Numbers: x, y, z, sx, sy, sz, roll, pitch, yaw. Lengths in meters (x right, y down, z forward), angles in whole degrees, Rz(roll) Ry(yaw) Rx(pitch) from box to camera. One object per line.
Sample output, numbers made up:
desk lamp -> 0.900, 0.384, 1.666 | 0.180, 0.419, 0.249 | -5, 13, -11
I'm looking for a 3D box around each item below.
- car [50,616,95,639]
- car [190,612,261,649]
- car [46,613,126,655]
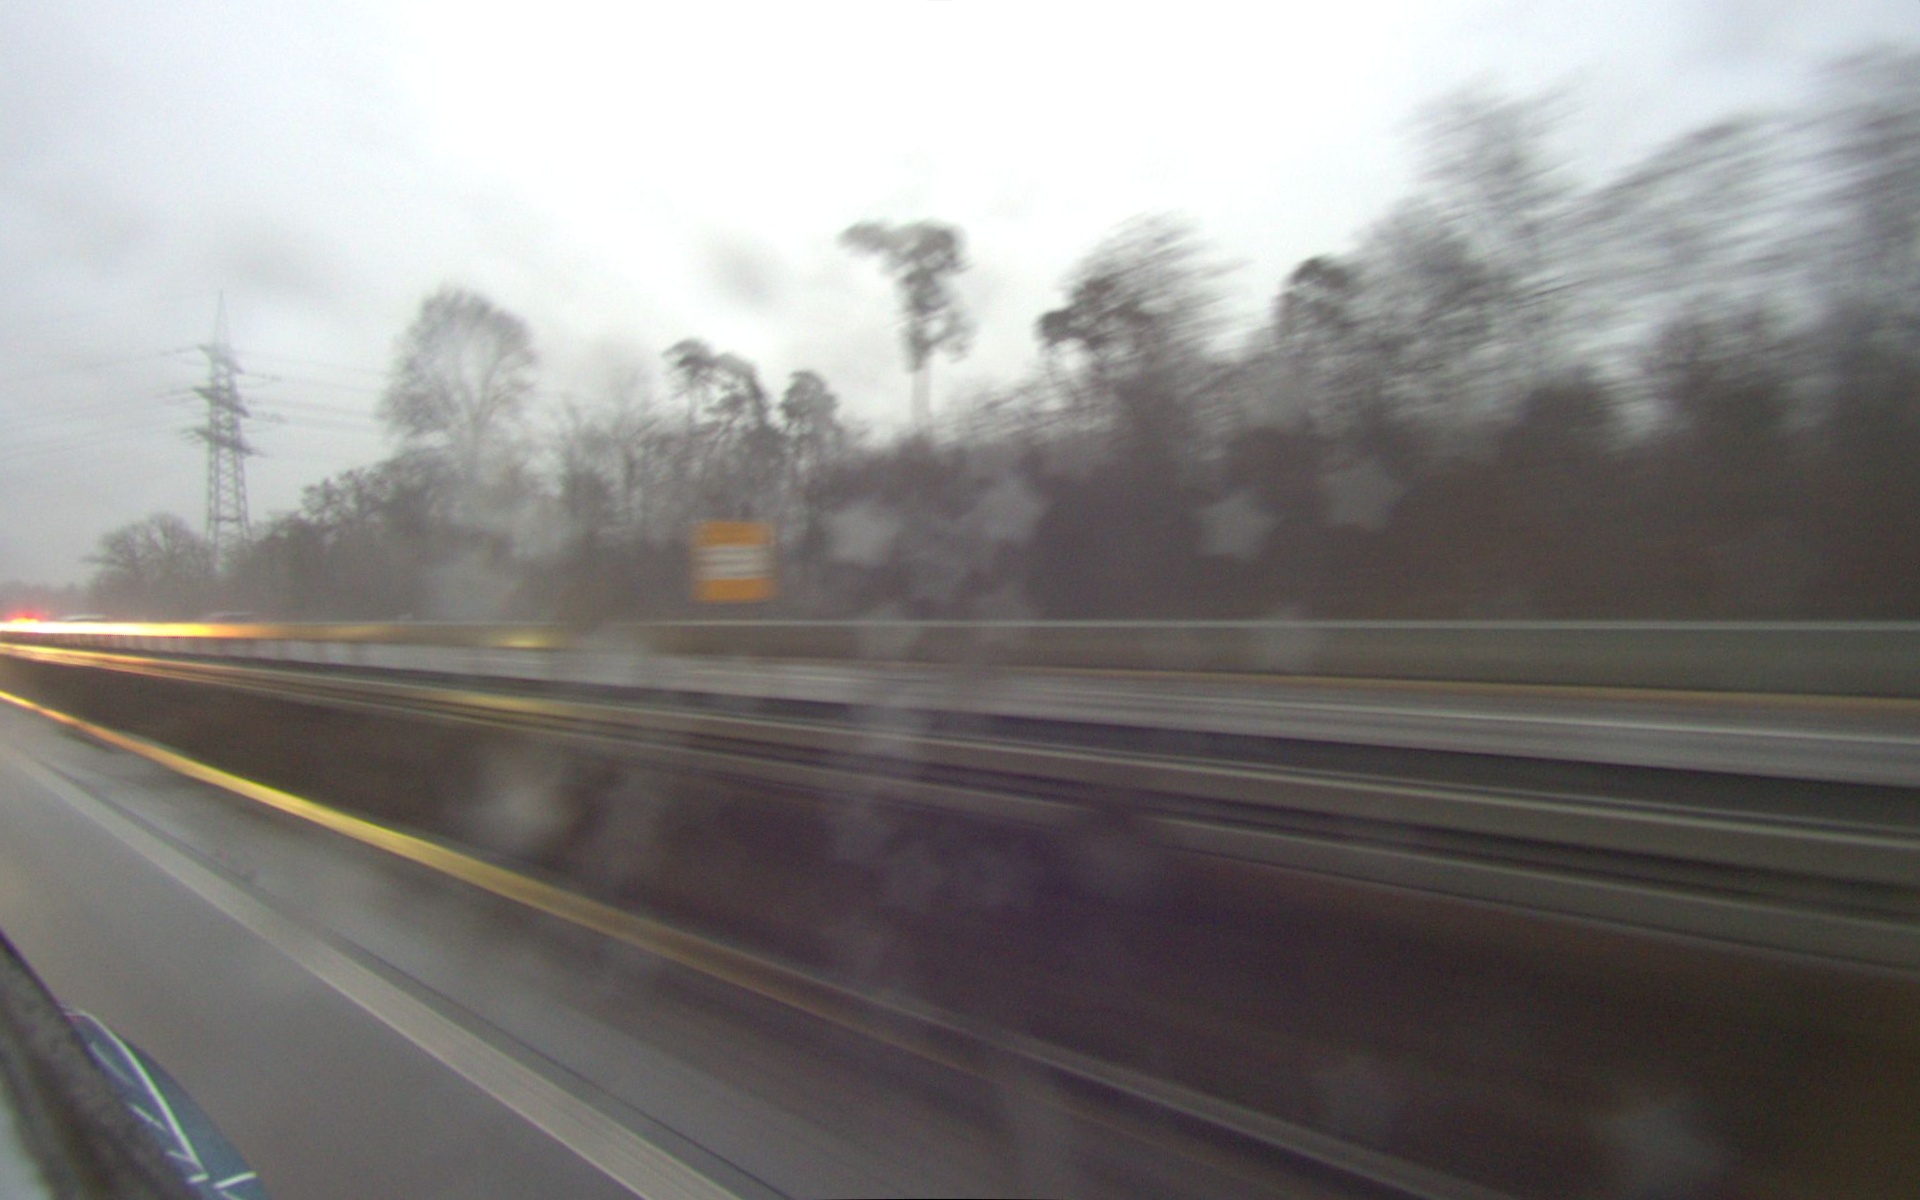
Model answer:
car -> -58.886, 1.816, 67.111 | 4.415, 1.471, 1.709 | -1, -1, 41
car -> -29.713, 1.210, 40.903 | 4.052, 1.407, 1.483 | -1, -1, 41
car -> -34.000, 1.305, 39.336 | 4.415, 1.471, 1.709 | -1, 1, 41
